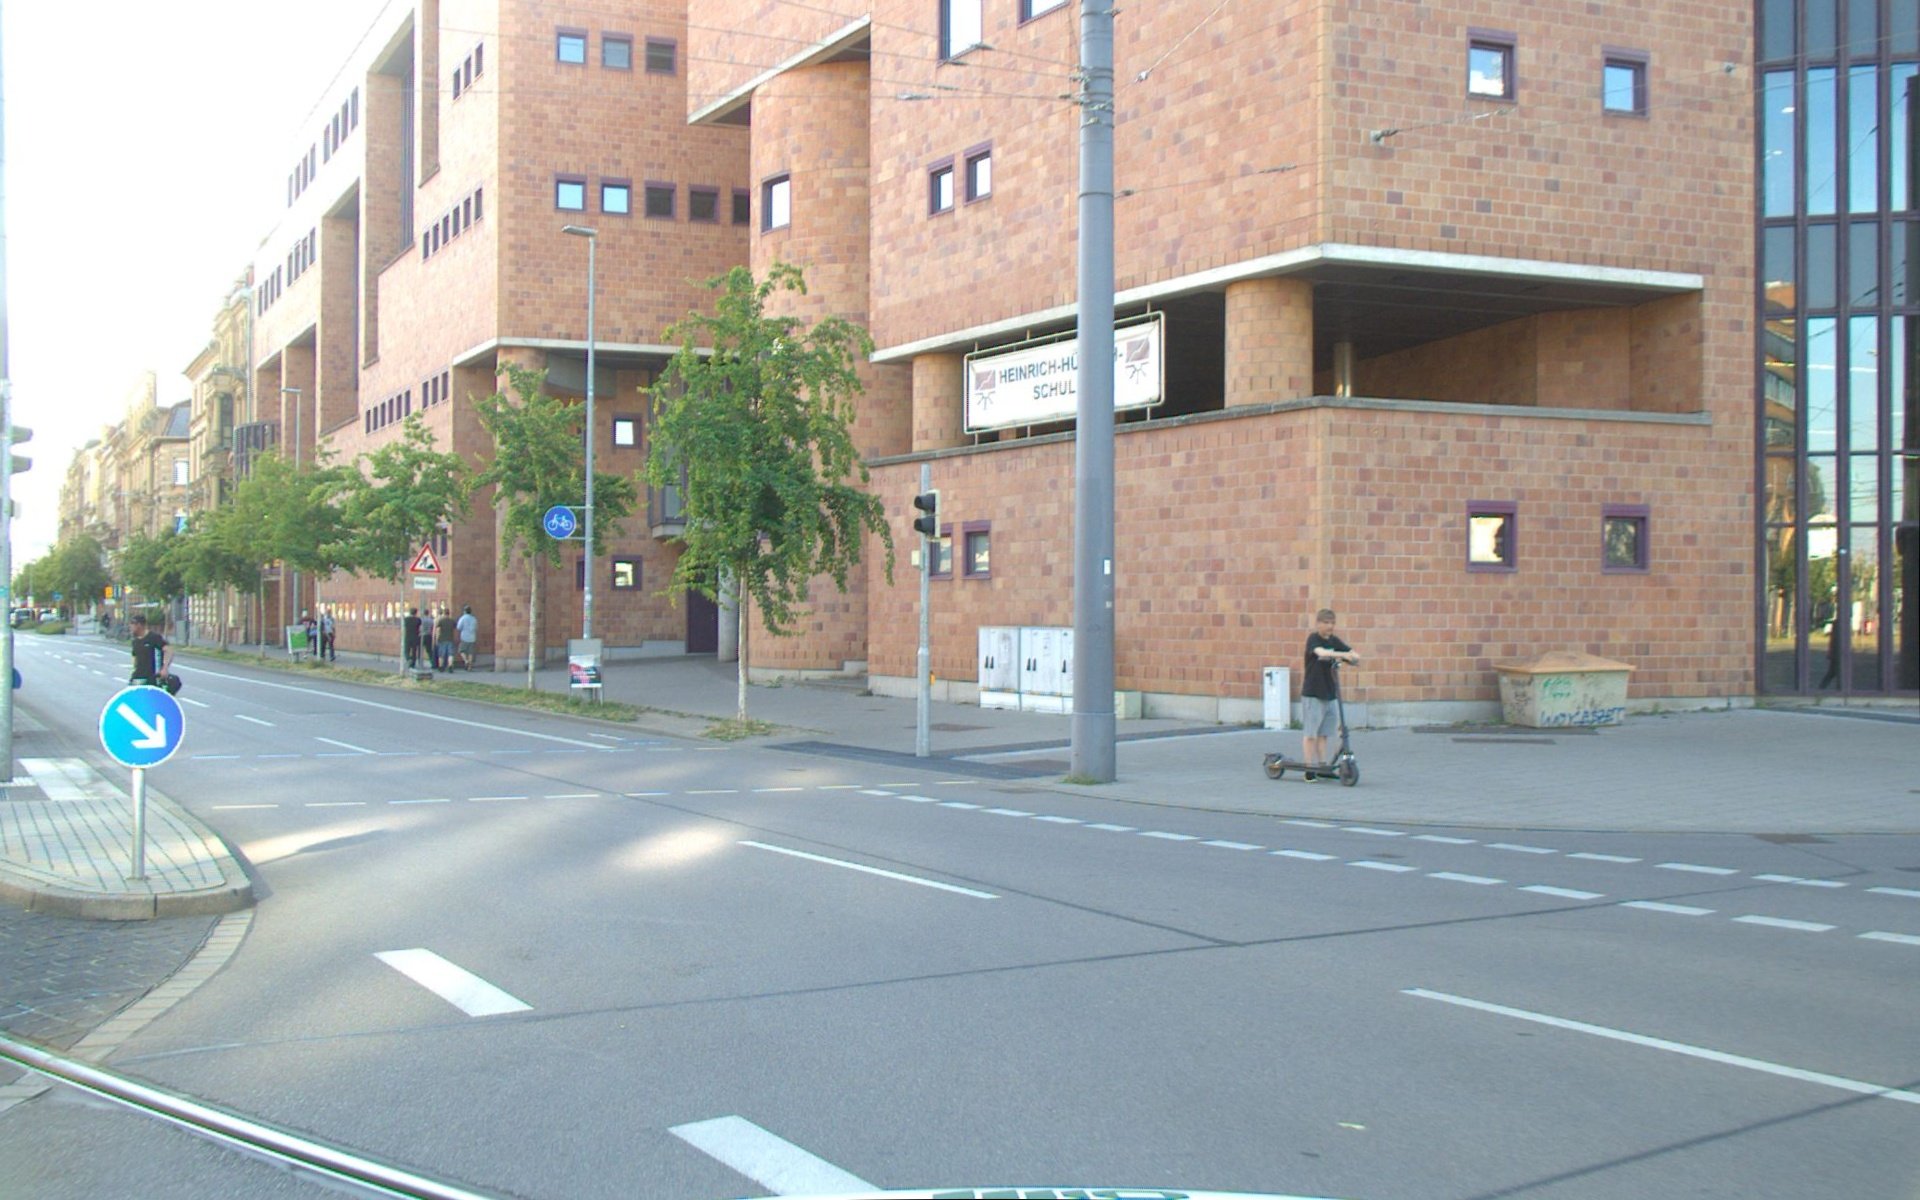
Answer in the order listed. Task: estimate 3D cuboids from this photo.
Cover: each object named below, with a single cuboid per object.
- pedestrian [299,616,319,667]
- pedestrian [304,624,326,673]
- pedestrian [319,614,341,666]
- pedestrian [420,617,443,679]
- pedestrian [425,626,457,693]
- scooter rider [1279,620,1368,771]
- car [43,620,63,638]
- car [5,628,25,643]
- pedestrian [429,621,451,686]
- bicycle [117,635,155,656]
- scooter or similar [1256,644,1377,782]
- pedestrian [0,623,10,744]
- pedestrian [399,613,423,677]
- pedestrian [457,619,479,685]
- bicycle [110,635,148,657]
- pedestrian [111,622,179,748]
[{"bbox_3d":[-23.019,1.469,58.513,0.414,1.787,0.534,-1,-1,44],"label":"pedestrian"},{"bbox_3d":[-21.369,1.599,54.812,0.512,1.633,0.695,1,-1,-38],"label":"pedestrian"},{"bbox_3d":[-21.152,1.344,55.521,0.567,1.743,0.633,0,-1,-37],"label":"pedestrian"},{"bbox_3d":[-15.170,1.372,47.469,0.531,1.787,0.417,0,-1,-31],"label":"pedestrian"},{"bbox_3d":[-14.000,1.586,44.604,0.719,1.787,0.694,0,-1,-10],"label":"pedestrian"},{"bbox_3d":[3.683,0.951,16.767,0.503,1.486,0.712,0,-1,-39],"label":"scooter rider"},{"bbox_3d":[-83.917,2.657,153.003,1.619,1.512,4.171,-2,1,-29],"label":"car"},{"bbox_3d":[-101.059,3.747,176.927,1.830,1.483,4.114,0,0,-30],"label":"car"},{"bbox_3d":[-14.461,1.492,45.967,0.529,1.787,0.691,0,-1,-22],"label":"pedestrian"},{"bbox_3d":[-47.455,2.593,95.240,1.812,1.083,0.655,-3,2,-37],"label":"bicycle"},{"bbox_3d":[3.621,1.121,16.837,0.524,1.341,1.116,0,-1,-40],"label":"scooter or similar"},{"bbox_3d":[-12.657,1.079,21.440,0.481,1.566,0.548,0,-1,-18],"label":"pedestrian"},{"bbox_3d":[-15.457,1.259,46.570,0.531,1.787,0.459,0,-1,-33],"label":"pedestrian"},{"bbox_3d":[-13.499,1.413,45.391,0.529,1.787,0.691,0,-1,-22],"label":"pedestrian"},{"bbox_3d":[-47.129,2.598,93.838,1.812,1.083,0.655,-3,2,-37],"label":"bicycle"},{"bbox_3d":[-10.462,1.074,21.231,0.706,1.566,0.842,0,-1,-33],"label":"pedestrian"}]
